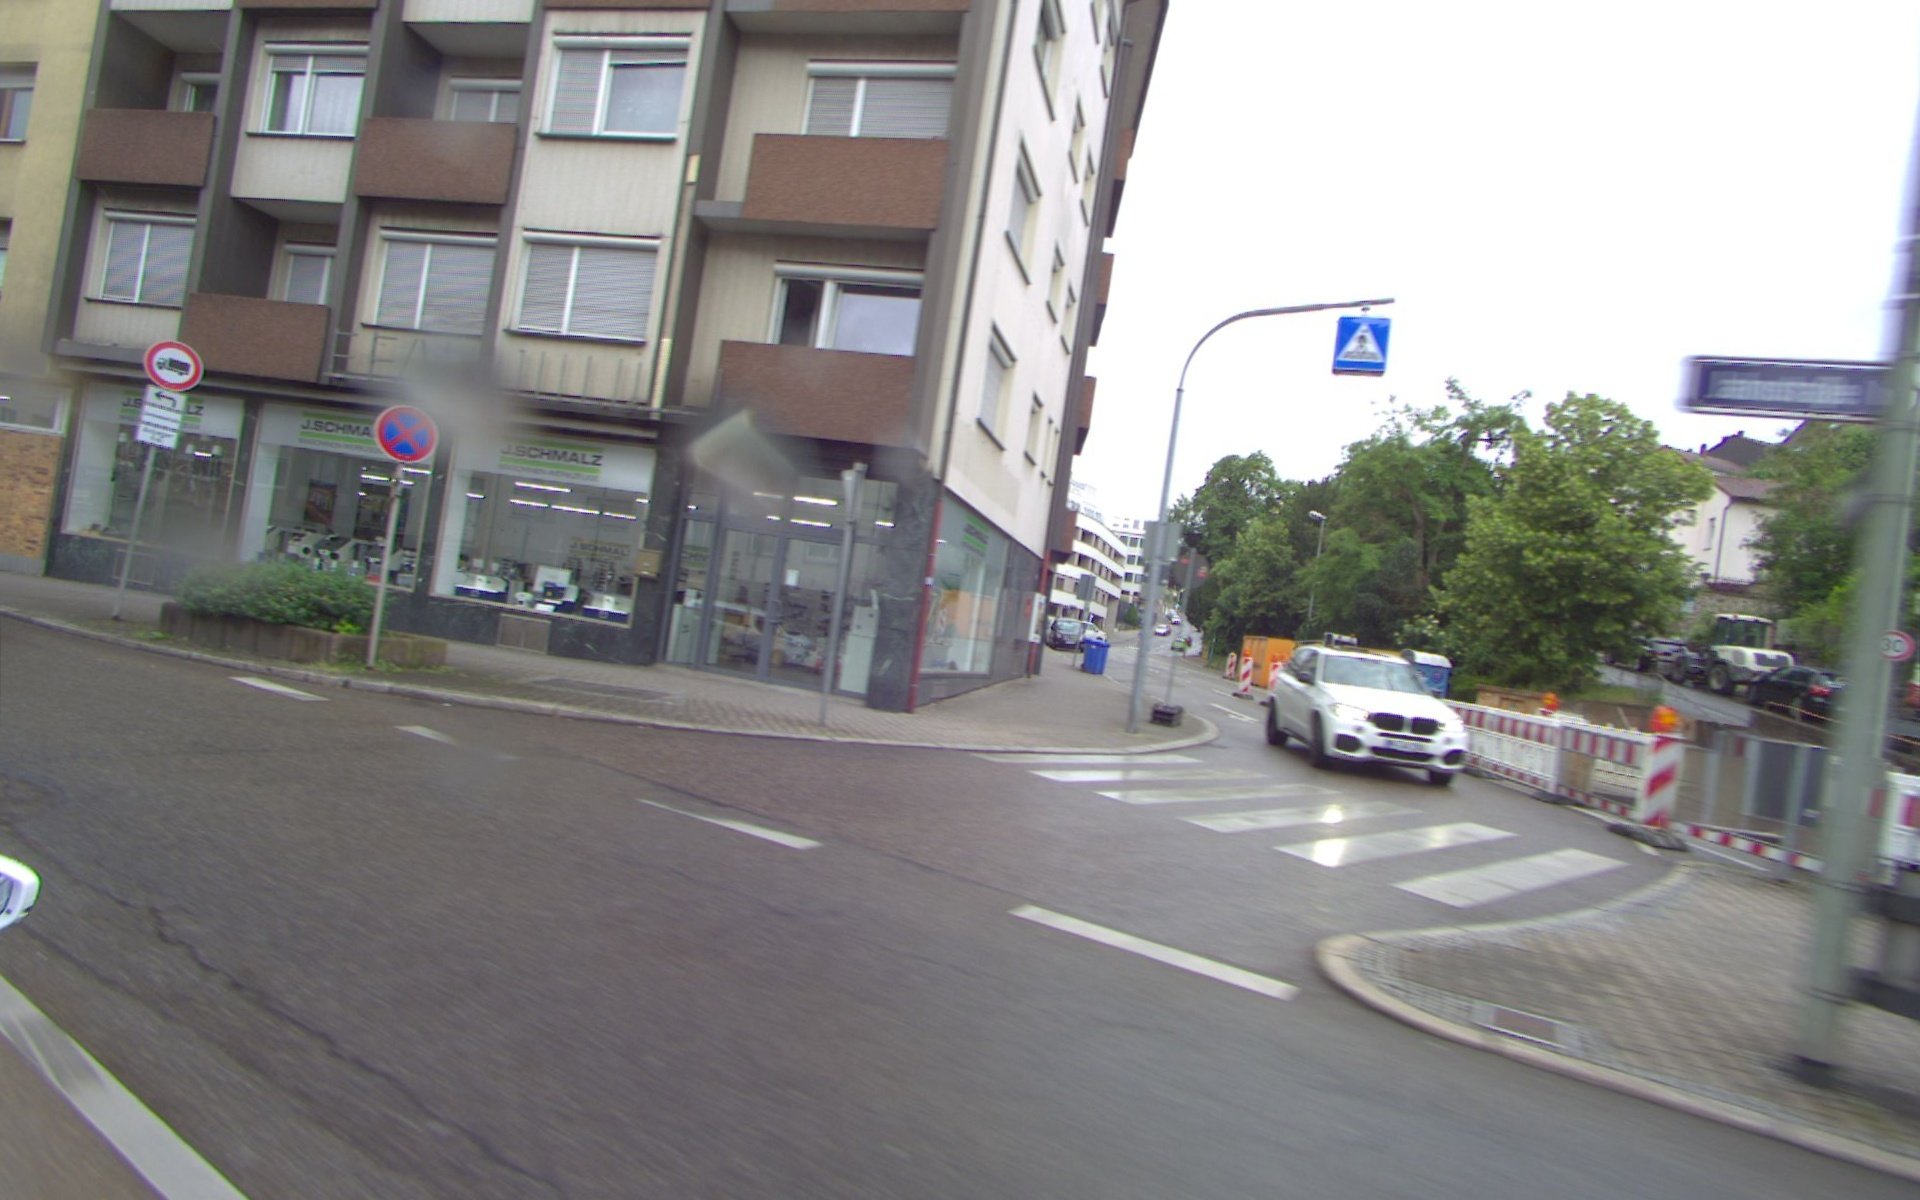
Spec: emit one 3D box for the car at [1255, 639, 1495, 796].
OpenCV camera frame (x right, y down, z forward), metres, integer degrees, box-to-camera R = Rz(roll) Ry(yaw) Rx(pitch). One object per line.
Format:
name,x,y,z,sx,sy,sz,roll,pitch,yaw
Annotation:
car,6.152,1.633,15.640,1.962,1.741,4.800,7,0,6

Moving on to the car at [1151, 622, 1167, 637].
car,30.408,4.522,153.969,1.962,1.810,3.993,7,5,14

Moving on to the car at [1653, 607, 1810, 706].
car,26.806,1.840,35.231,1.855,2.654,5.088,8,5,10

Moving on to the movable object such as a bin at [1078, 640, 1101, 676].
movable object such as a bin,4.133,1.848,32.125,0.521,1.058,0.540,8,-3,3

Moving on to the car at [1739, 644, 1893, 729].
car,24.972,2.461,29.527,1.730,1.749,3.712,8,5,14

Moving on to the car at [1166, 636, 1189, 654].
car,26.452,5.457,122.223,1.963,1.809,3.995,7,3,20

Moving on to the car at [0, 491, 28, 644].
car,-11.635,-0.611,10.210,3.984,1.514,1.789,7,-1,26

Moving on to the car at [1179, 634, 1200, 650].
car,30.522,5.526,133.666,1.963,1.766,3.995,7,2,20

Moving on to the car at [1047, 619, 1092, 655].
car,6.019,2.005,55.828,1.892,1.622,4.000,9,-1,0

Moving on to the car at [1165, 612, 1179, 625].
car,36.919,3.225,175.237,1.962,1.810,3.993,7,5,14

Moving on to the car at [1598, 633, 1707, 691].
car,27.868,2.448,40.702,1.855,1.588,4.536,8,5,12

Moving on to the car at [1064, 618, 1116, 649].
car,11.644,3.031,90.301,4.028,2.034,2.000,9,-4,-8

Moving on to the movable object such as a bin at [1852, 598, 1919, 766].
movable object such as a bin,22.499,2.052,20.834,2.690,3.687,6.530,8,3,12
